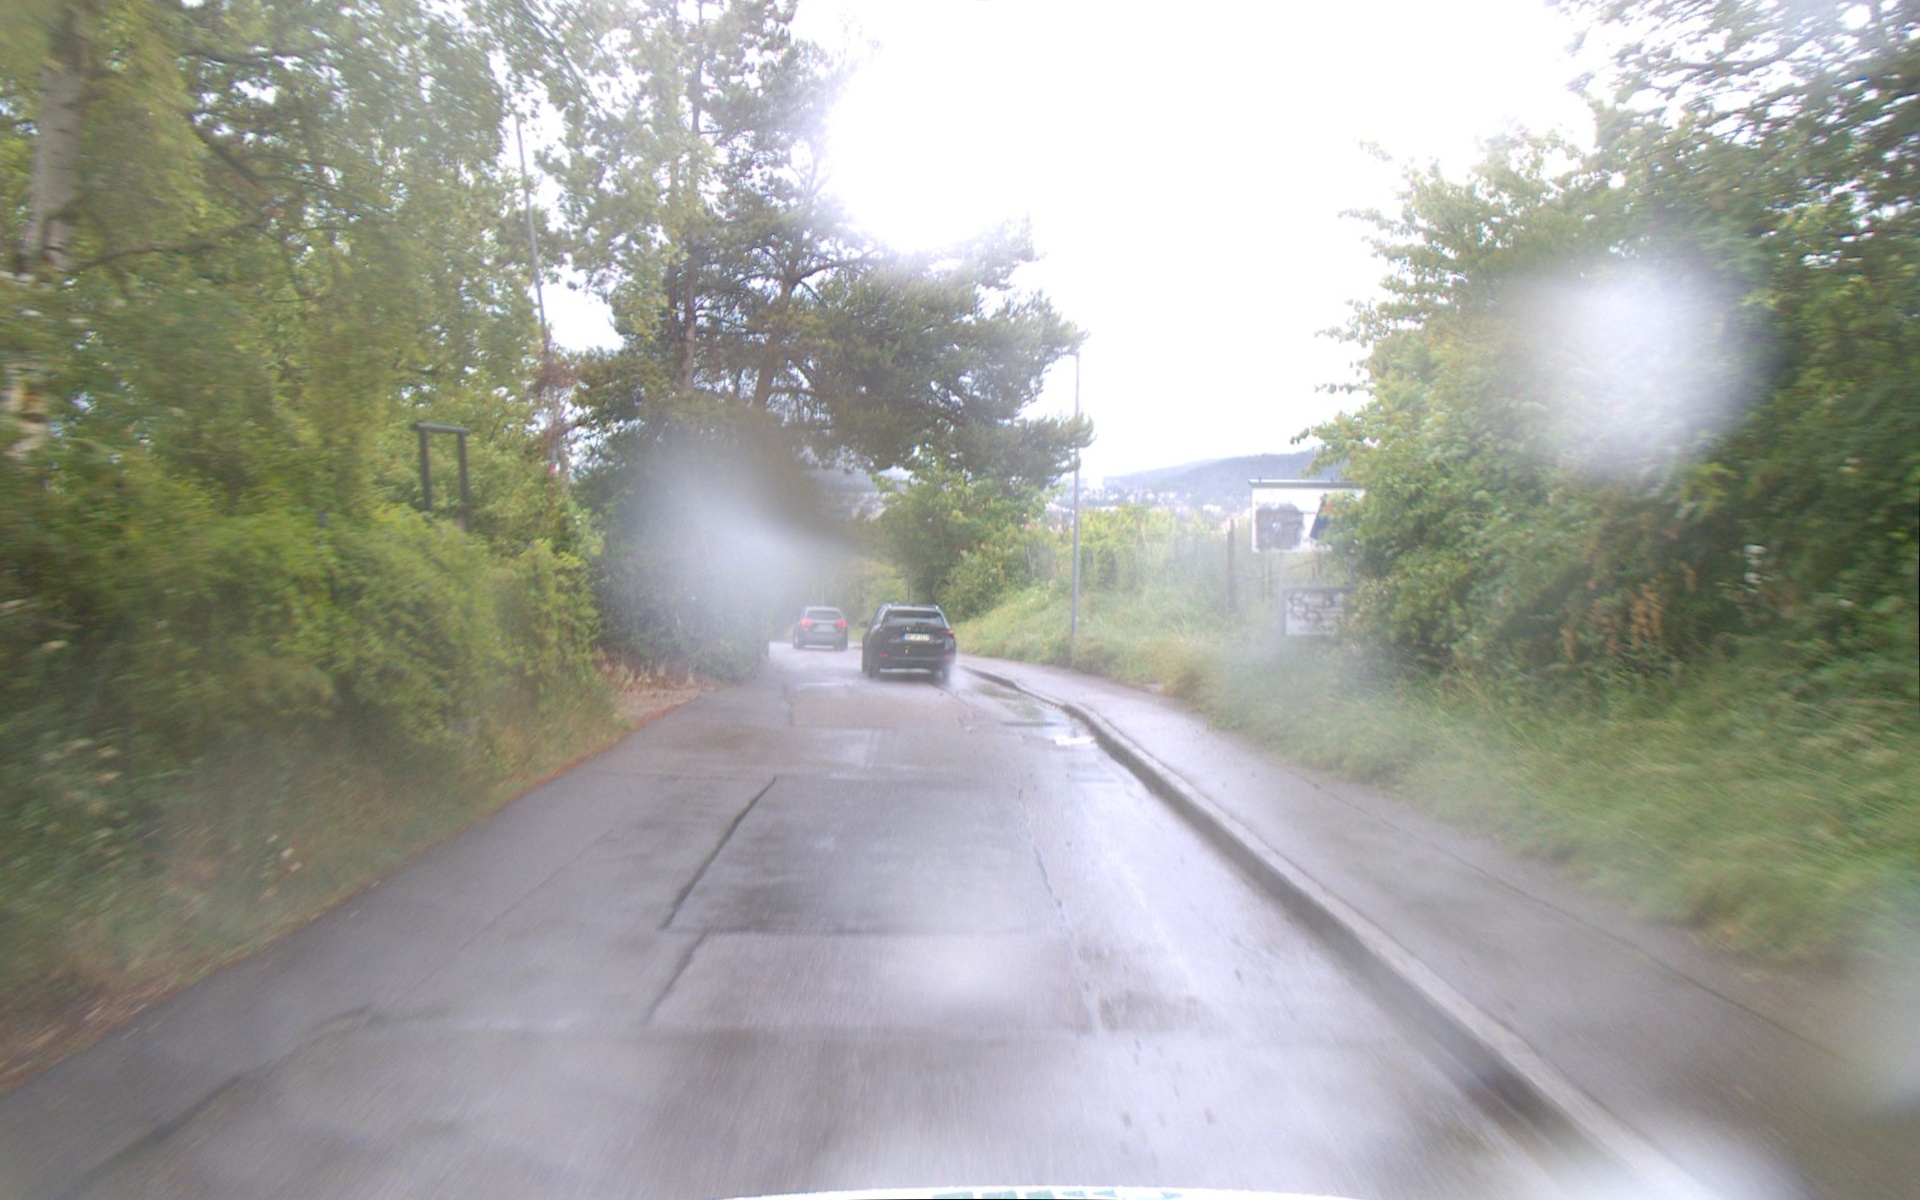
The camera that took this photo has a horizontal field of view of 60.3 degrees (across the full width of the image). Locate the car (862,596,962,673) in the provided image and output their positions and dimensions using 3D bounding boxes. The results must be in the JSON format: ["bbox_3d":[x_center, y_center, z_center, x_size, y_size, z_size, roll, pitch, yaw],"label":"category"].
[{"bbox_3d":[-1.032,0.666,33.747,1.799,1.489,3.995,0,0,-5],"label":"car"}]

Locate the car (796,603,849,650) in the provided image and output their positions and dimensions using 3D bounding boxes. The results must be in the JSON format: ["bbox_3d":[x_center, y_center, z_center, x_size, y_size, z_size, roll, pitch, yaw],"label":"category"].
[{"bbox_3d":[-5.000,0.934,59.696,1.647,1.592,3.787,2,0,-8],"label":"car"}]
